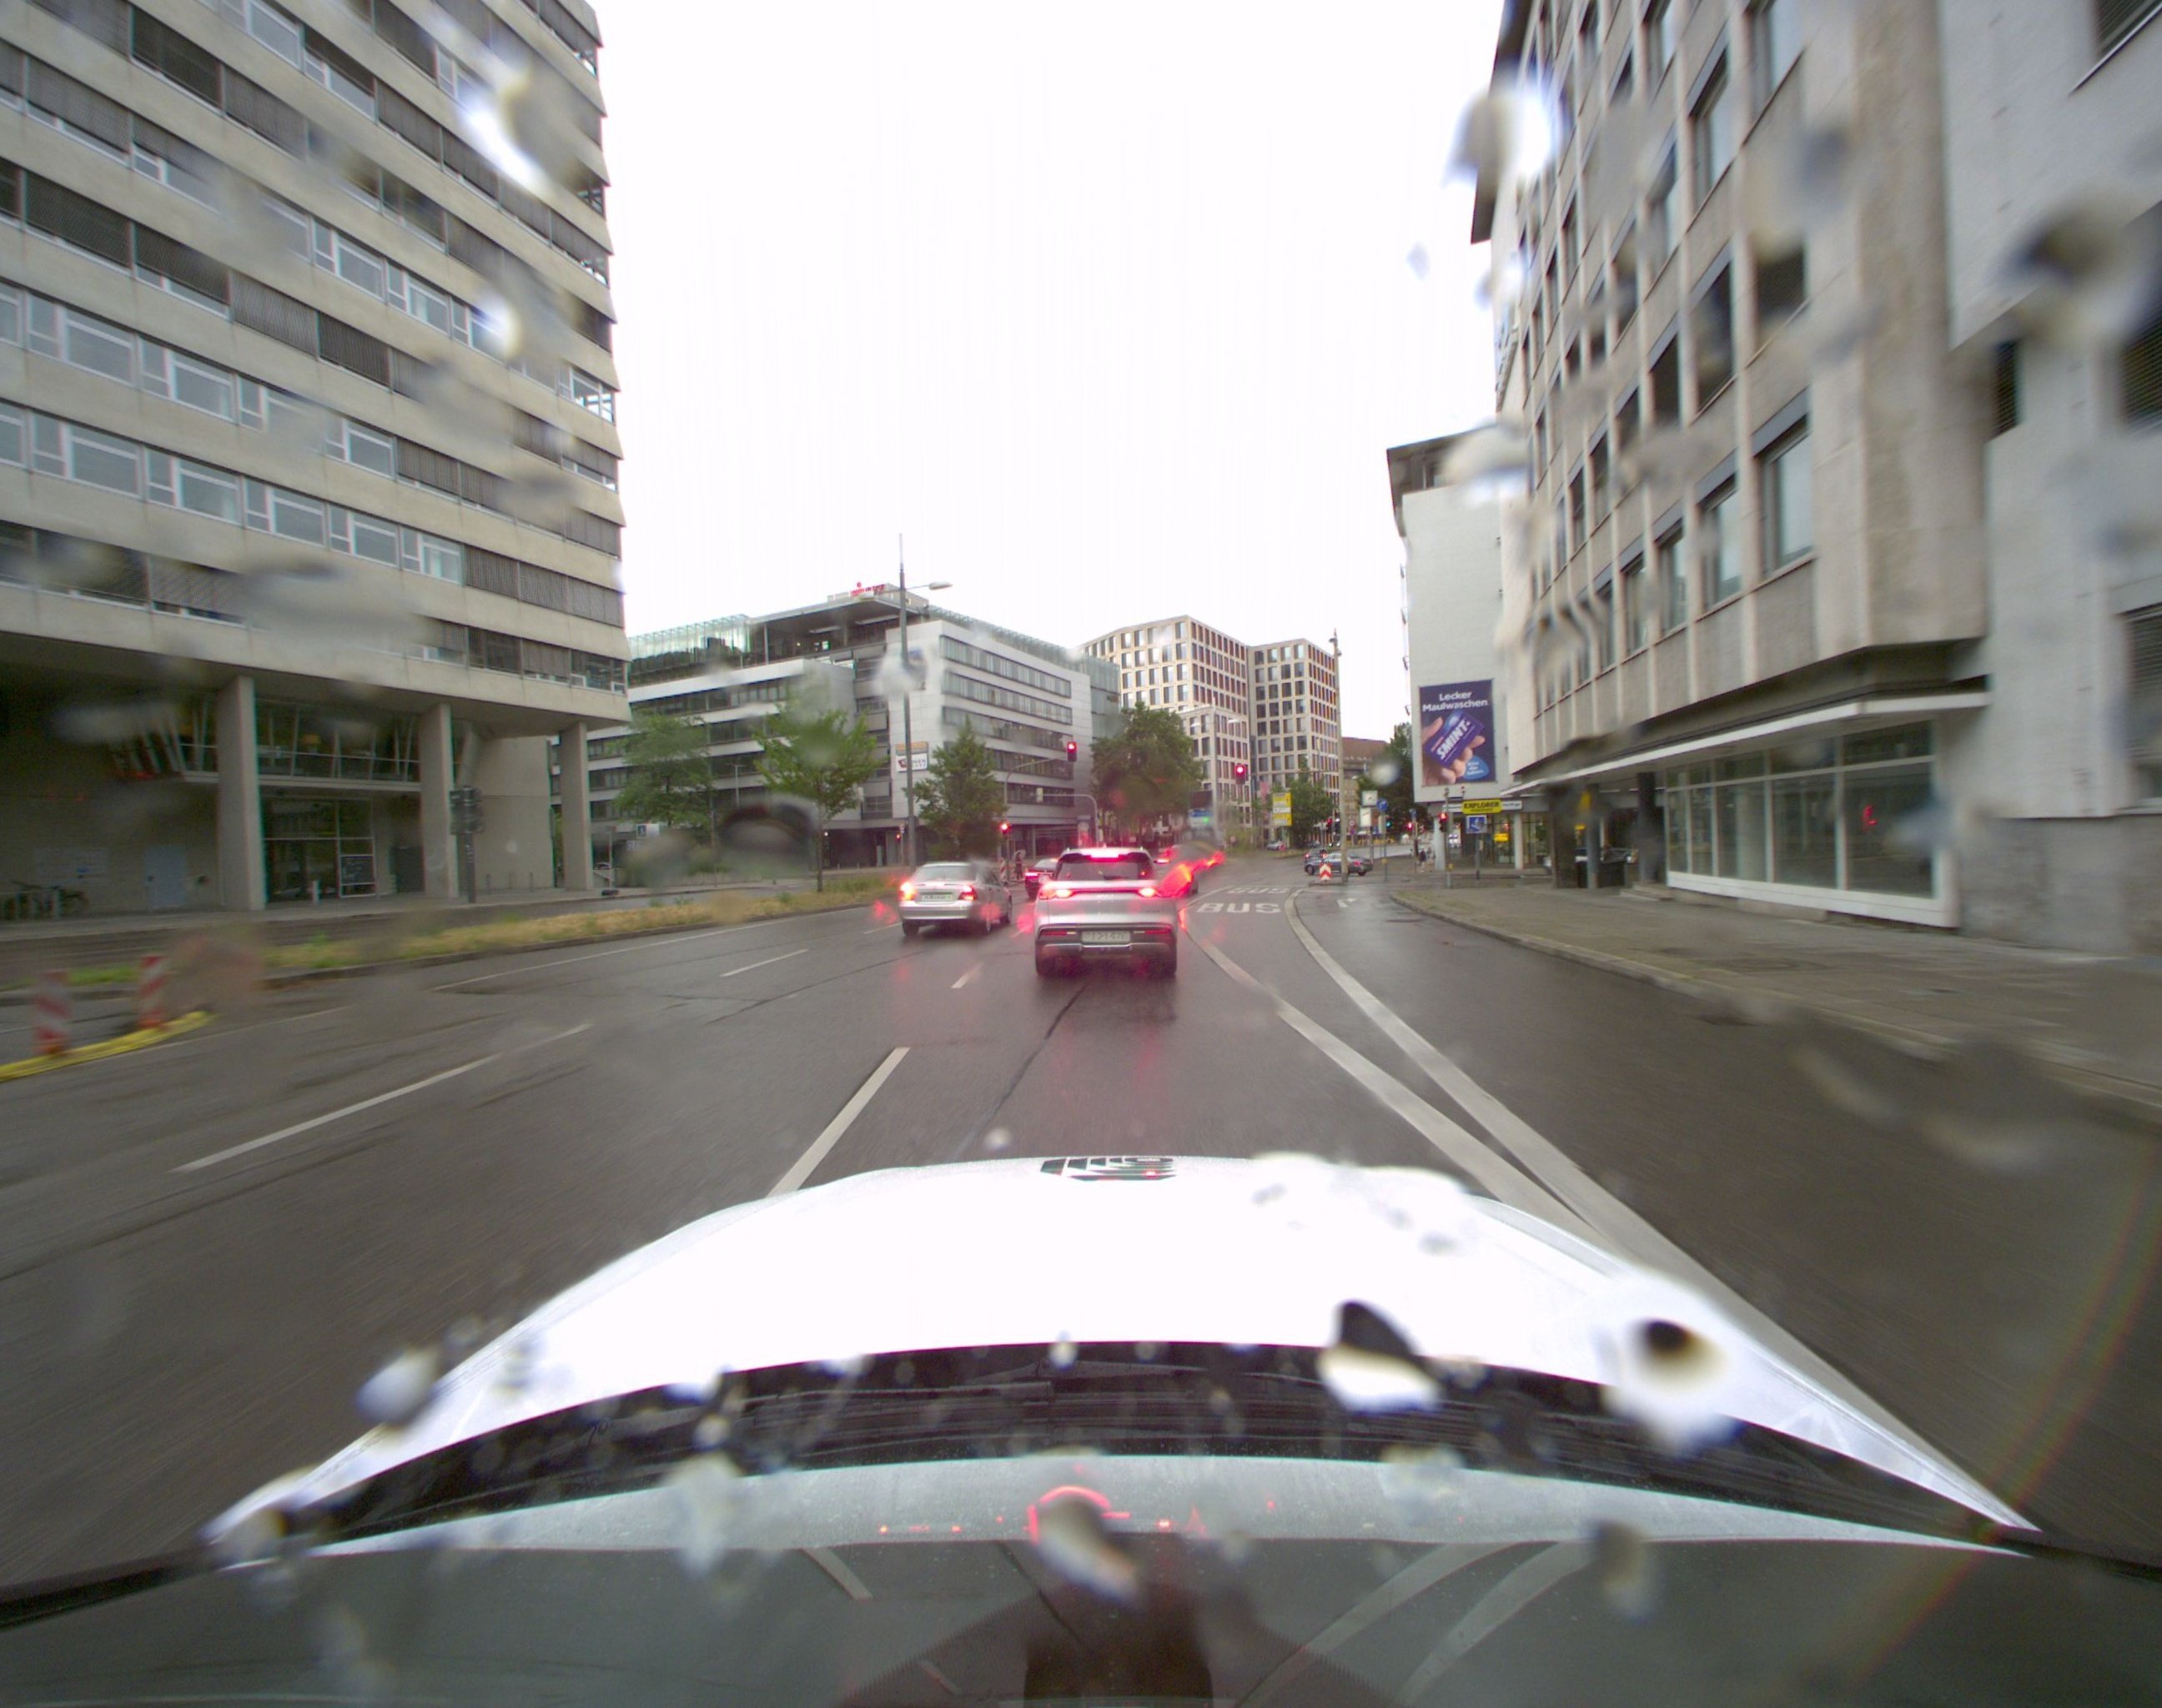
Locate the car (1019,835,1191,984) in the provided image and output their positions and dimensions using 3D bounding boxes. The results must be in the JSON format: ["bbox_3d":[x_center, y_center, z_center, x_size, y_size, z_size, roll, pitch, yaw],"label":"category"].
[{"bbox_3d":[0.325,0.649,11.856,1.986,1.709,4.483,-2,0,1],"label":"car"}]

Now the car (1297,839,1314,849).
[{"bbox_3d":[41.723,-1.885,151.164,1.974,1.705,4.337,-1,2,31],"label":"car"}]

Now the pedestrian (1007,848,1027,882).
[{"bbox_3d":[-3.397,0.568,43.233,0.919,1.738,0.729,-2,0,-1],"label":"pedestrian"}]

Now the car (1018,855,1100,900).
[{"bbox_3d":[-0.749,0.828,30.737,1.940,1.530,4.017,-1,0,16],"label":"car"}]

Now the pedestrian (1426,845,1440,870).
[{"bbox_3d":[22.102,0.237,51.081,0.721,1.524,0.763,-2,-1,20],"label":"pedestrian"}]

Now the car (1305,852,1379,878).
[{"bbox_3d":[16.638,0.672,52.093,1.924,1.510,4.310,-1,1,-34],"label":"car"}]

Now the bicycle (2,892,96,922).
[{"bbox_3d":[-32.454,1.648,25.646,0.450,0.812,1.783,-1,0,22],"label":"bicycle"}]

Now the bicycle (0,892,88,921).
[{"bbox_3d":[-32.995,1.657,25.868,0.450,0.812,1.783,-1,0,22],"label":"bicycle"}]

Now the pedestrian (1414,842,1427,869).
[{"bbox_3d":[21.392,0.106,51.316,0.721,1.668,0.694,-2,-1,20],"label":"pedestrian"}]

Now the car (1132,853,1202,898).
[{"bbox_3d":[3.340,0.773,30.950,1.940,1.530,4.017,-1,0,16],"label":"car"}]

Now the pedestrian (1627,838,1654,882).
[{"bbox_3d":[23.301,0.226,33.924,0.721,1.798,0.743,-2,0,20],"label":"pedestrian"}]

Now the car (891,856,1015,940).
[{"bbox_3d":[-2.544,0.827,17.191,1.675,1.486,4.200,-2,0,3],"label":"car"}]

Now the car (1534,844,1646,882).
[{"bbox_3d":[24.540,0.445,39.492,4.473,1.750,2.012,-1,0,28],"label":"car"}]

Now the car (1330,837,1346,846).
[{"bbox_3d":[48.648,-2.368,154.309,1.974,1.705,4.026,-1,2,31],"label":"car"}]

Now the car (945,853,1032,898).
[{"bbox_3d":[-3.498,0.772,31.568,1.870,1.596,4.017,-1,0,16],"label":"car"}]

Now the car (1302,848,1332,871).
[{"bbox_3d":[19.110,0.393,65.733,2.030,1.765,4.378,0,1,20],"label":"car"}]

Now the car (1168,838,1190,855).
[{"bbox_3d":[12.683,-0.980,105.141,1.722,2.161,4.518,0,0,22],"label":"car"}]

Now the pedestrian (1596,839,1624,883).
[{"bbox_3d":[21.991,0.270,33.872,0.806,1.798,0.714,-2,0,20],"label":"pedestrian"}]

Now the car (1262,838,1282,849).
[{"bbox_3d":[31.222,-1.721,133.061,1.974,1.705,4.337,-1,2,31],"label":"car"}]
